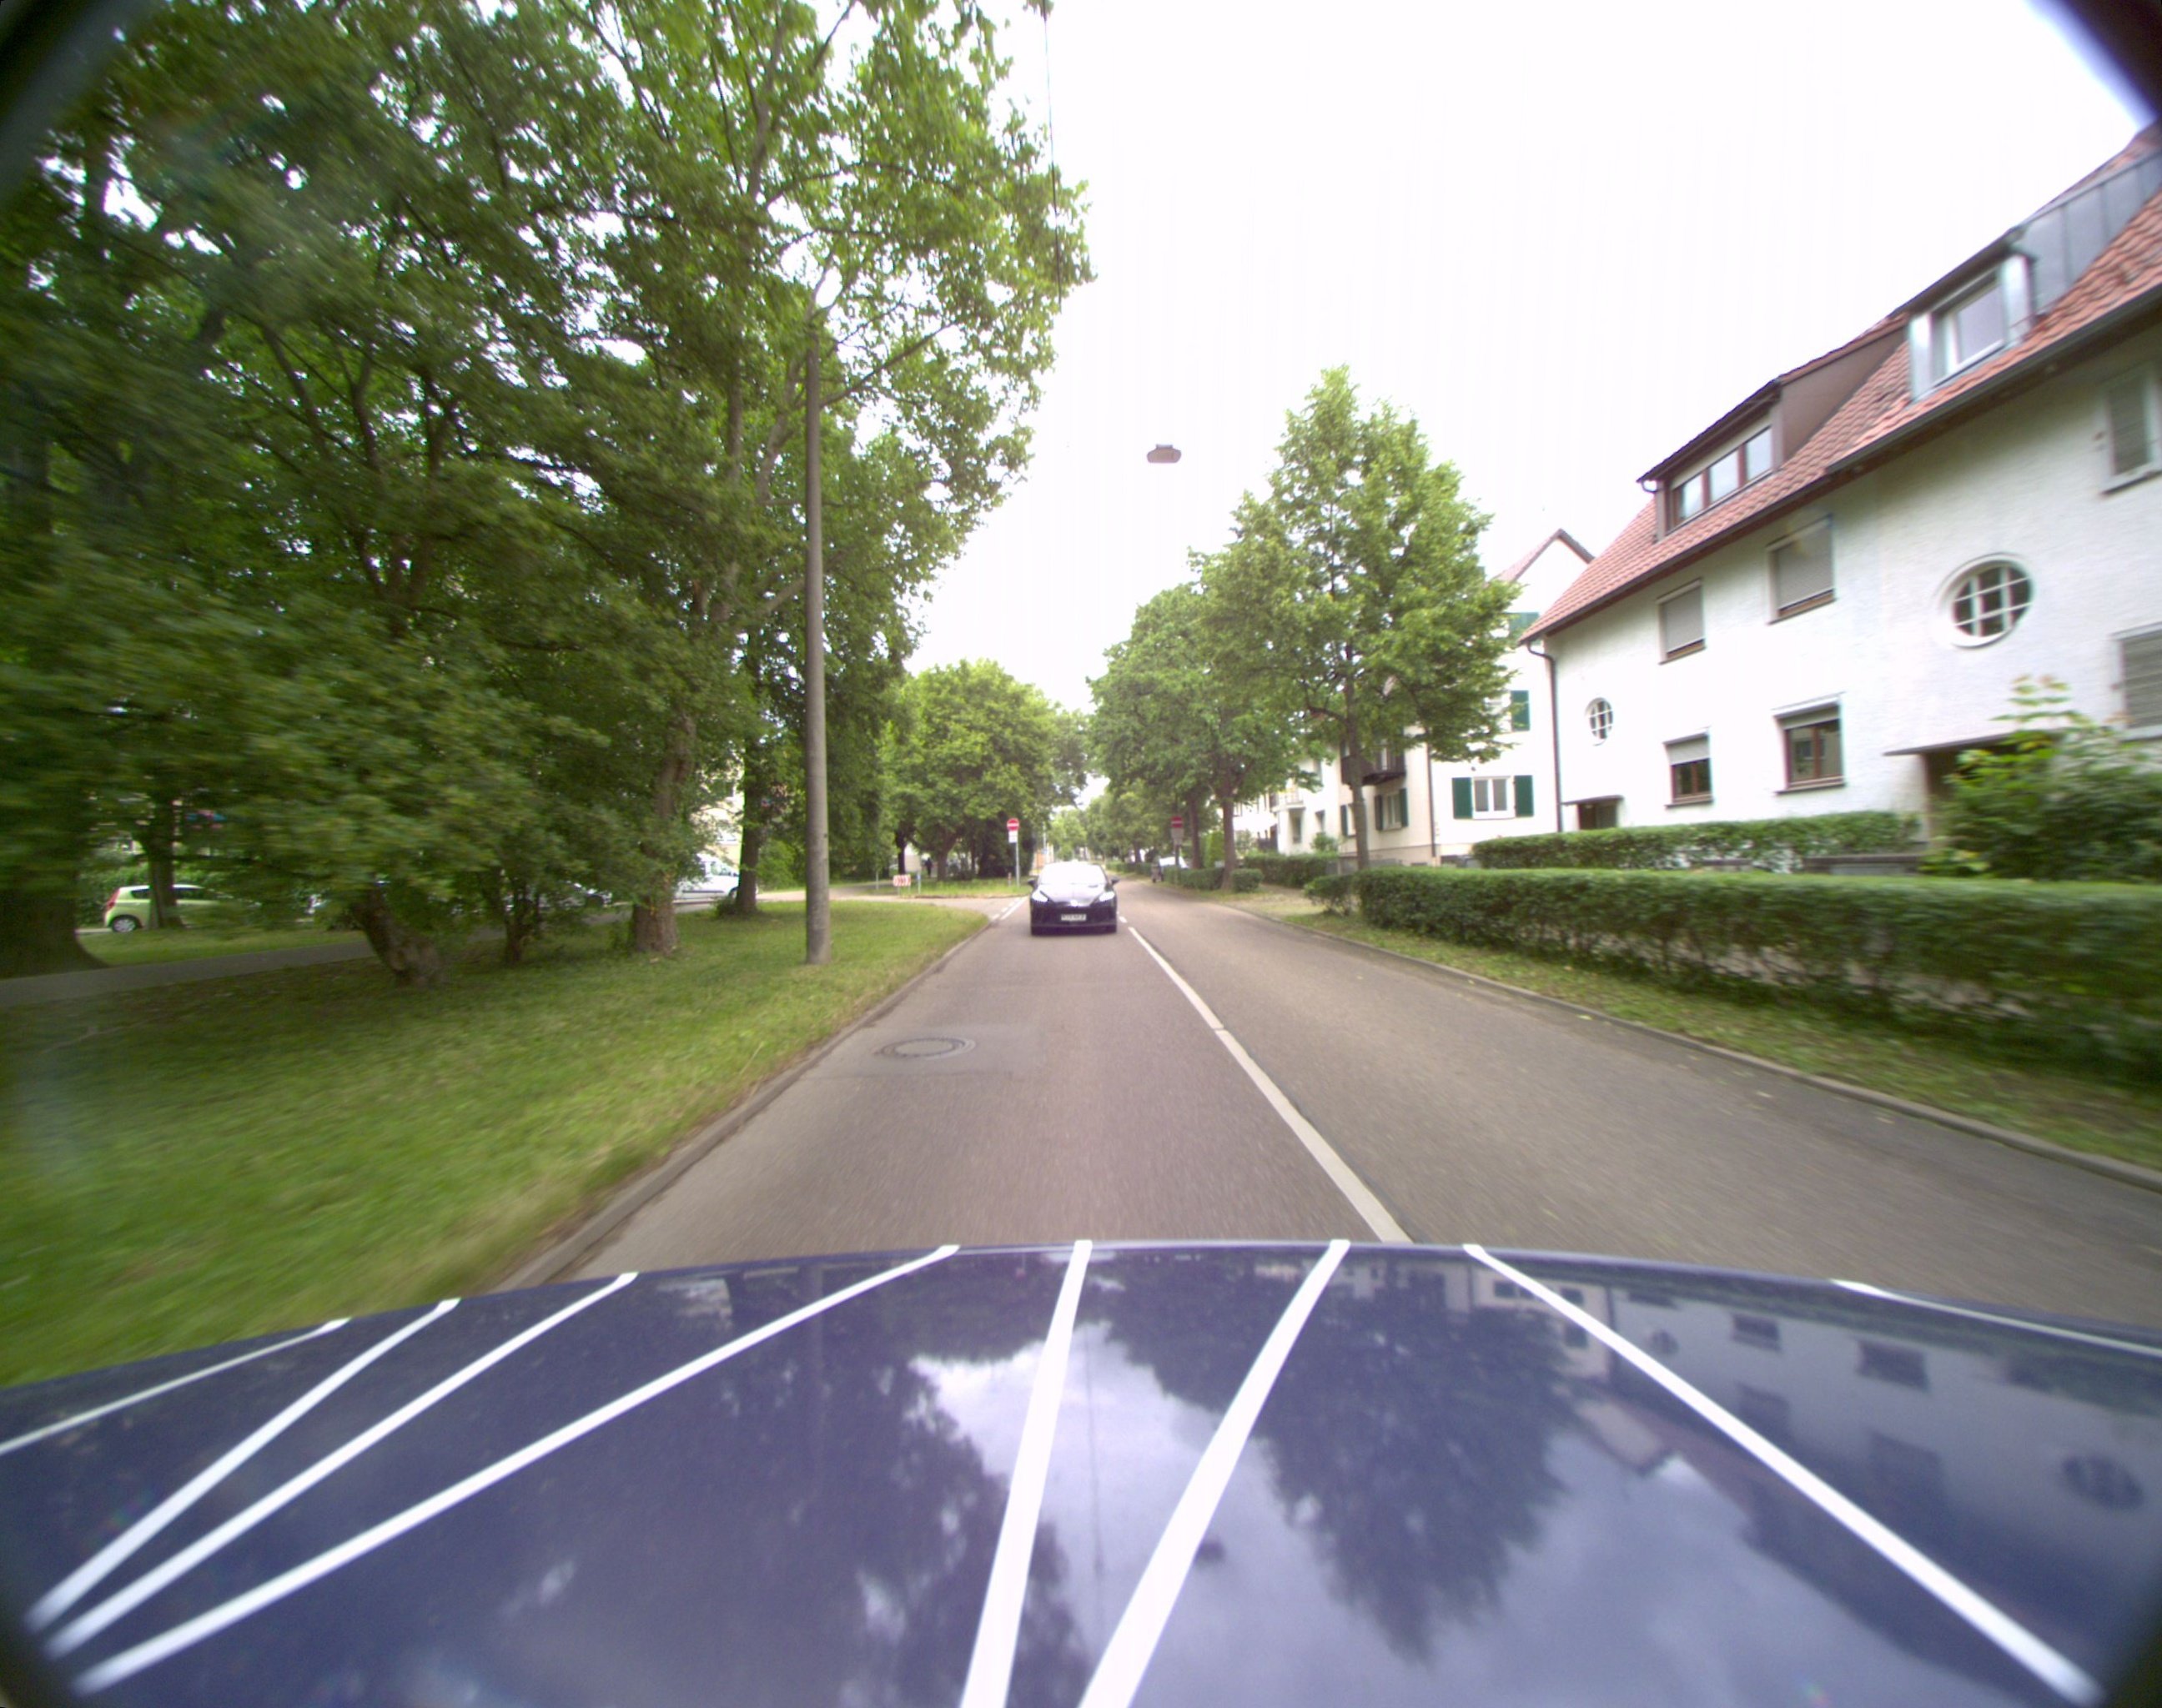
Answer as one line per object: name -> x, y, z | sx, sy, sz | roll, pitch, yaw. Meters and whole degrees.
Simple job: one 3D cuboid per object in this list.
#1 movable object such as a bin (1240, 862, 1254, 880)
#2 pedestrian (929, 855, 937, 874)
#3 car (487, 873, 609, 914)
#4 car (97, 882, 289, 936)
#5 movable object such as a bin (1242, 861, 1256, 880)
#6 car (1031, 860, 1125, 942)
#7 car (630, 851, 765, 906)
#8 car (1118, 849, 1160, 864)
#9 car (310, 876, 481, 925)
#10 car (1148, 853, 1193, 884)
movable object such as a bin -> 9.311, 0.947, 42.561 | 0.561, 0.935, 0.640 | -1, 0, -6
pedestrian -> -13.203, 0.924, 67.904 | 0.650, 1.651, 0.649 | -1, 0, -11
car -> -22.247, 1.610, 31.760 | 4.008, 1.501, 1.795 | -1, -1, -39
car -> -29.168, 1.754, 25.168 | 1.795, 1.501, 4.008 | -2, -1, 43
movable object such as a bin -> 9.276, 0.909, 41.920 | 0.561, 1.019, 0.601 | -1, 0, -6
car -> -0.075, 0.944, 17.280 | 1.799, 1.552, 4.471 | -2, 0, 0
car -> -17.799, 1.103, 35.339 | 5.335, 2.285, 2.287 | -2, -1, -33
car -> 9.298, 0.416, 121.258 | 6.378, 2.334, 1.973 | -1, 0, -23
car -> -25.622, 1.686, 28.535 | 1.795, 1.501, 4.613 | -2, -1, 45
car -> 5.343, 0.844, 45.826 | 1.830, 1.743, 4.452 | -2, 0, -4
